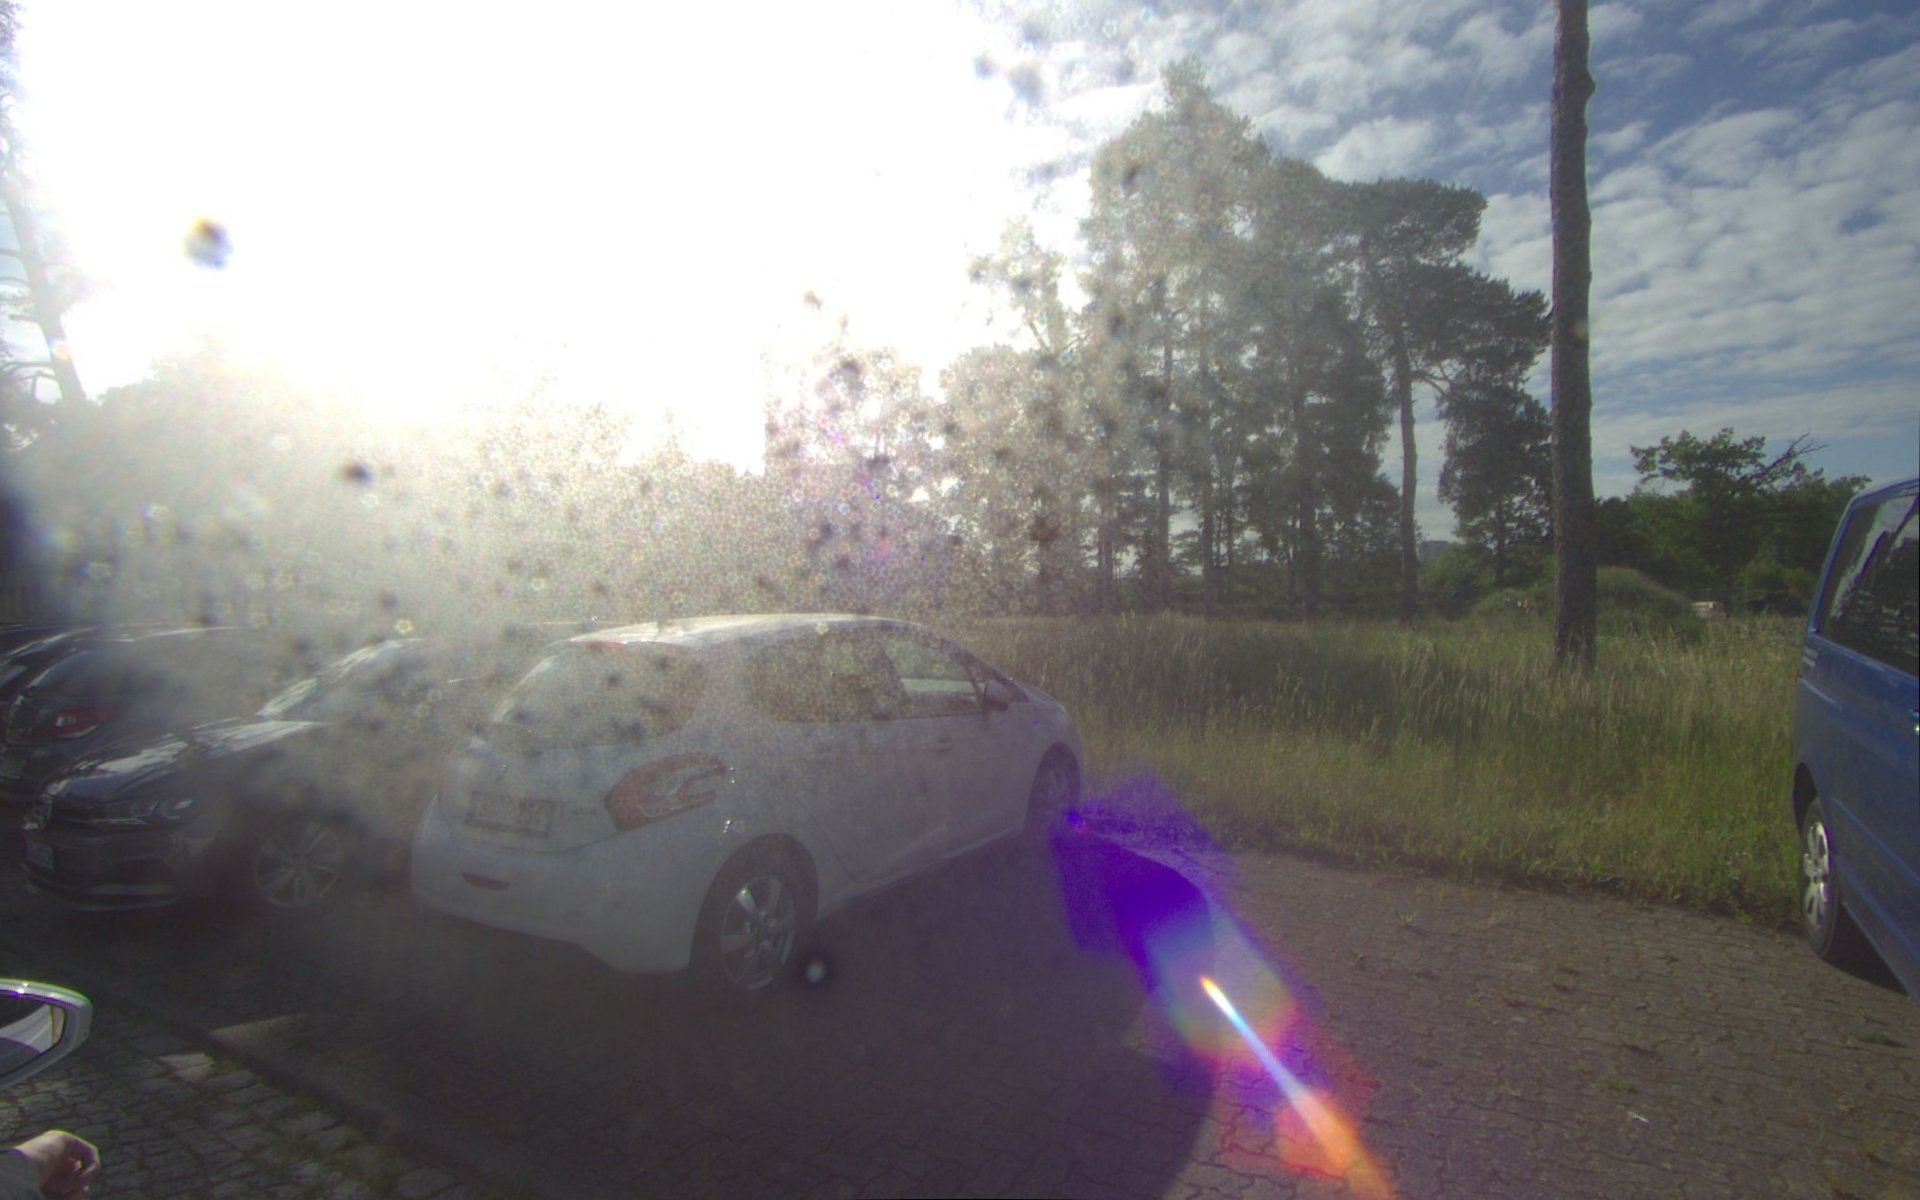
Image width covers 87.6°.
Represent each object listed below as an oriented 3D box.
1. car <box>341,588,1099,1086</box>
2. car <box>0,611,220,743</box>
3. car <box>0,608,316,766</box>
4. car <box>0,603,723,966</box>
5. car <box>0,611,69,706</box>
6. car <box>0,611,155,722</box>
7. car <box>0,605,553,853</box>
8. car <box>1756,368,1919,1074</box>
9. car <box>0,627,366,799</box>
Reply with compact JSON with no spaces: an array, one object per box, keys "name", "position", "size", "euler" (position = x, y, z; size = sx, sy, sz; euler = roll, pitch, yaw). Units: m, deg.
[{"name":"car","position":[-0.833,0.754,5.255],"size":[1.736,1.555,3.698],"euler":[0,2,32]},{"name":"car","position":[-11.698,0.921,11.809],"size":[1.755,1.434,4.421],"euler":[0,1,32]},{"name":"car","position":[-9.749,0.891,11.056],"size":[1.613,1.469,4.117],"euler":[0,1,32]},{"name":"car","position":[-3.526,0.806,6.372],"size":[1.829,1.469,3.698],"euler":[0,1,32]},{"name":"car","position":[-16.120,0.953,14.955],"size":[1.613,1.434,3.873],"euler":[0,1,32]},{"name":"car","position":[-13.867,0.942,13.389],"size":[1.613,1.434,4.548],"euler":[0,1,32]},{"name":"car","position":[-5.603,0.833,8.391],"size":[1.790,1.469,3.699],"euler":[0,1,32]},{"name":"car","position":[3.720,0.316,2.624],"size":[1.971,1.961,4.688],"euler":[-1,1,31]},{"name":"car","position":[-7.971,0.975,9.435],"size":[1.721,1.240,3.698],"euler":[0,1,32]}]
